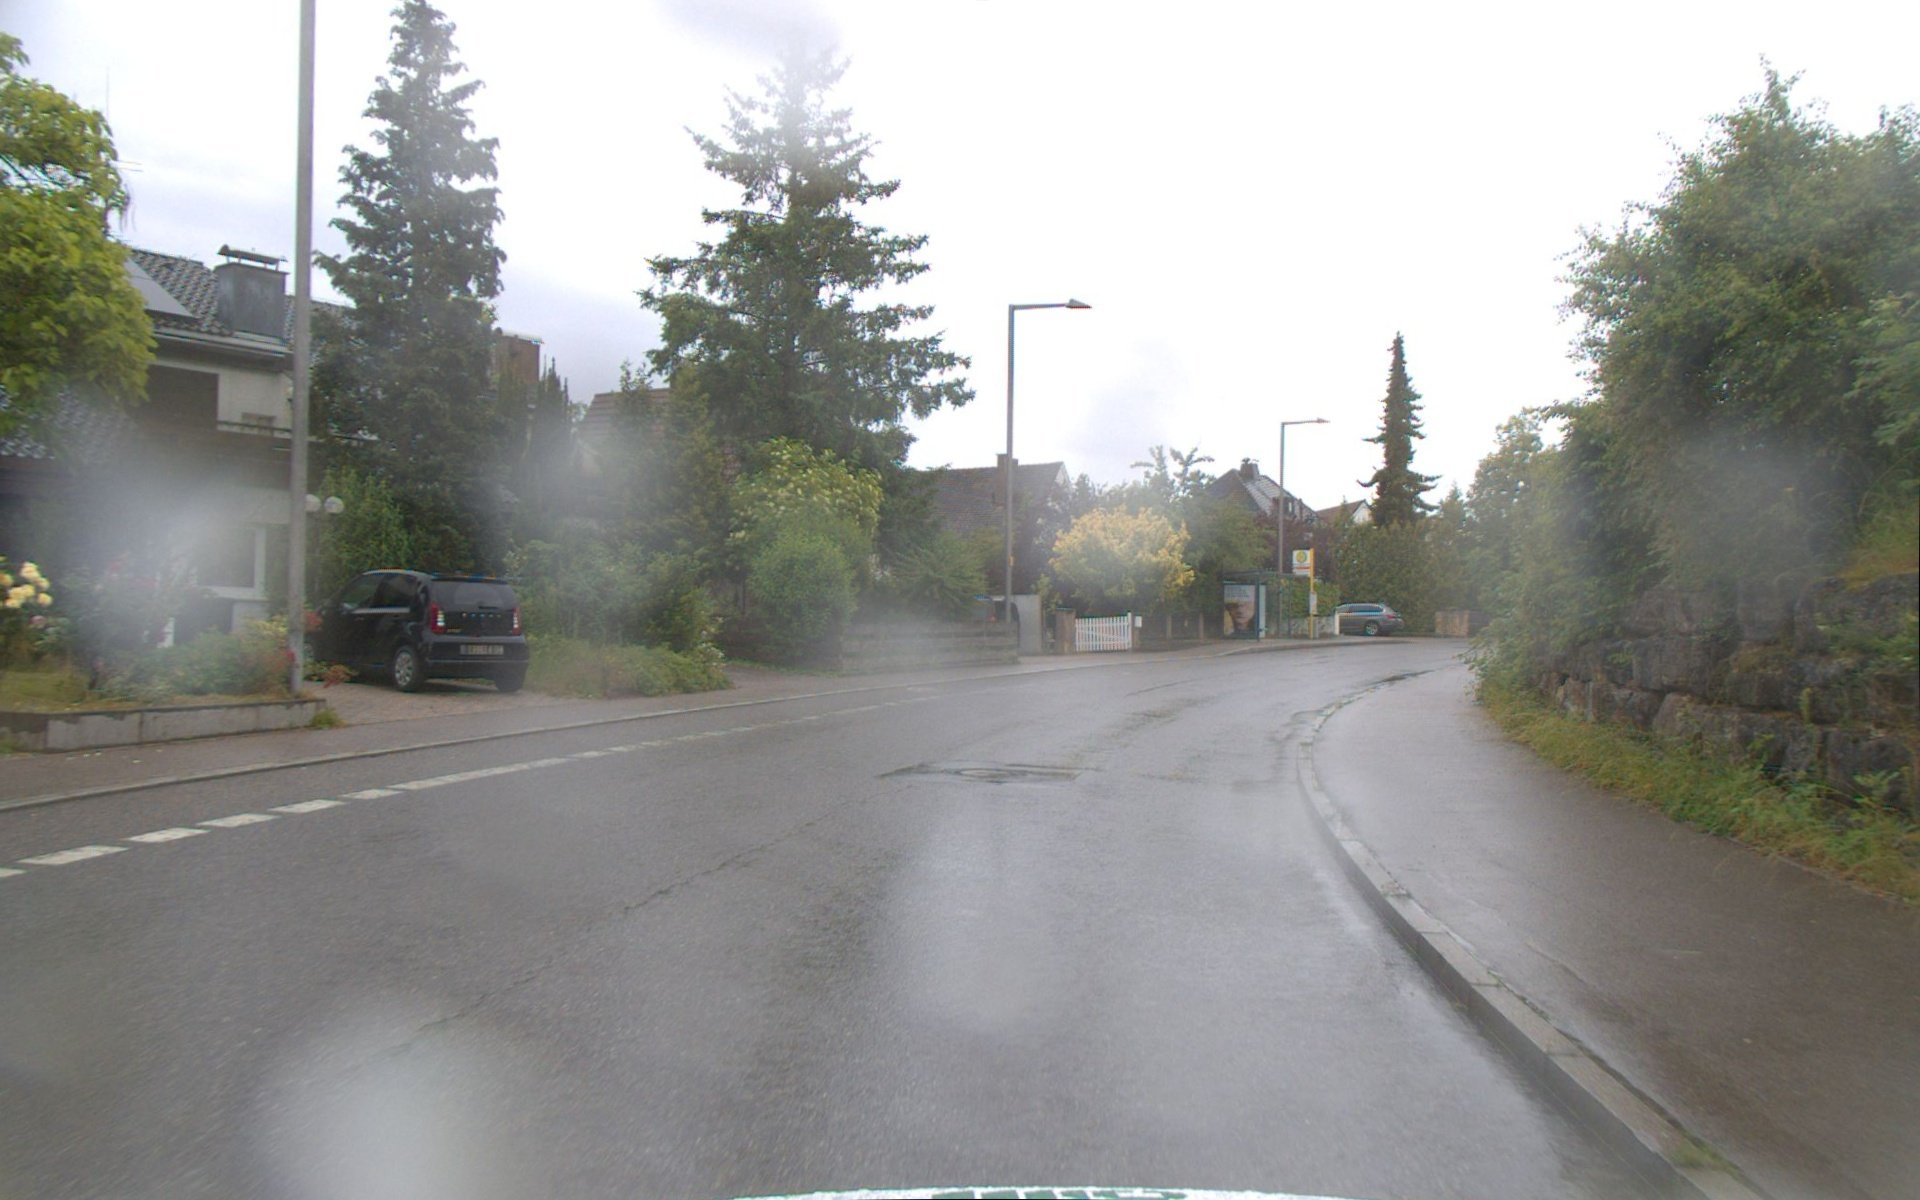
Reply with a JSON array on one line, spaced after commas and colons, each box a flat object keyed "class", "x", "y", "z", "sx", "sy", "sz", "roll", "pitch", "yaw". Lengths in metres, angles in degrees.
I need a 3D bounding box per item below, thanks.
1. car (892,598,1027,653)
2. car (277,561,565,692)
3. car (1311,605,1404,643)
[{"class": "car", "x": -0.024, "y": 0.806, "z": 53.337, "sx": 3.917, "sy": 1.648, "sz": 1.994, "roll": 1, "pitch": 0, "yaw": 33}, {"class": "car", "x": -7.037, "y": 0.312, "z": 21.407, "sx": 1.926, "sy": 1.413, "sz": 3.935, "roll": 5, "pitch": -1, "yaw": -45}, {"class": "car", "x": 18.079, "y": 1.089, "z": 75.167, "sx": 3.771, "sy": 1.599, "sz": 1.783, "roll": 1, "pitch": 0, "yaw": 28}]
